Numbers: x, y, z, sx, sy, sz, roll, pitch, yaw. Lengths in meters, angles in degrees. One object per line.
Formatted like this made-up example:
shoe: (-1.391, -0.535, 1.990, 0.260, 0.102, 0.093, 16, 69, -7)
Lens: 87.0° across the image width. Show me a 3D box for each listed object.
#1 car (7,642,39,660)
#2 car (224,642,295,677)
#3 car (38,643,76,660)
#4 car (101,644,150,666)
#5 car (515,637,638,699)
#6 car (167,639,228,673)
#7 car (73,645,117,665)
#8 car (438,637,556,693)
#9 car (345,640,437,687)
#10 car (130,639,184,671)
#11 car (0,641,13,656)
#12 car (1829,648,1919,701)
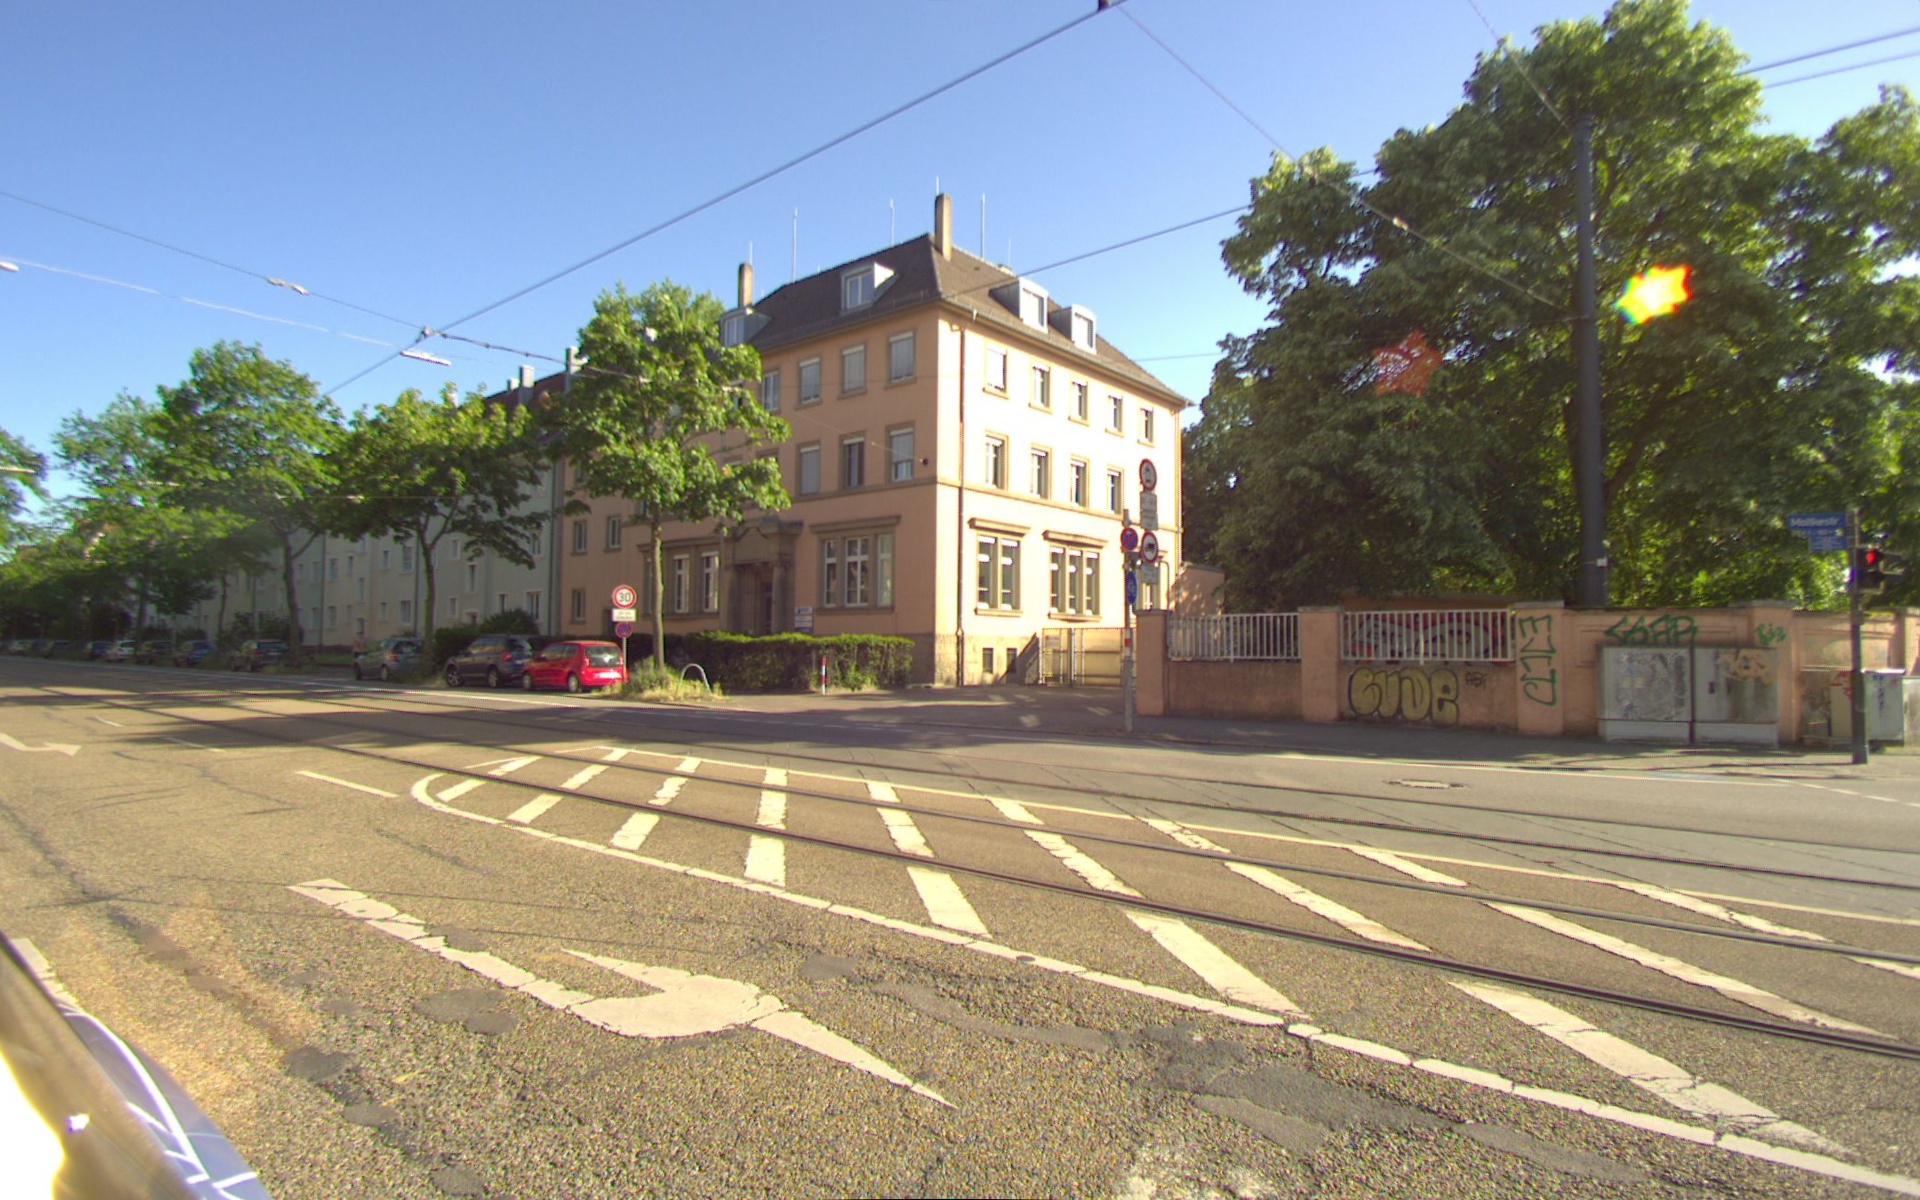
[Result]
car: (-93.617, 5.068, 101.060, 3.626, 1.792, 1.793, -2, -4, 39)
car: (-33.719, 2.840, 48.693, 3.626, 1.611, 1.793, -2, -4, 39)
car: (-76.193, 4.356, 85.415, 3.626, 1.430, 1.793, -2, -4, 39)
car: (-56.572, 3.732, 68.585, 3.626, 1.430, 1.793, -2, -4, 39)
car: (-11.180, 1.949, 29.464, 3.369, 1.719, 1.794, -2, -4, 37)
car: (-42.625, 3.142, 56.562, 3.791, 1.839, 1.793, -2, -4, 39)
car: (-63.459, 4.004, 74.247, 3.626, 1.430, 1.793, -2, -4, 39)
car: (-14.809, 2.044, 32.301, 3.813, 1.671, 1.794, -2, -4, 37)
car: (-21.435, 2.366, 38.090, 3.874, 1.671, 1.792, -2, -4, 41)
car: (-49.555, 3.390, 62.408, 3.626, 1.956, 1.793, -2, -4, 39)
car: (-102.833, 5.204, 108.170, 3.626, 1.535, 1.793, -2, -4, 39)
car: (32.216, 2.543, 34.839, 1.995, 1.740, 3.540, 0, -3, 13)
